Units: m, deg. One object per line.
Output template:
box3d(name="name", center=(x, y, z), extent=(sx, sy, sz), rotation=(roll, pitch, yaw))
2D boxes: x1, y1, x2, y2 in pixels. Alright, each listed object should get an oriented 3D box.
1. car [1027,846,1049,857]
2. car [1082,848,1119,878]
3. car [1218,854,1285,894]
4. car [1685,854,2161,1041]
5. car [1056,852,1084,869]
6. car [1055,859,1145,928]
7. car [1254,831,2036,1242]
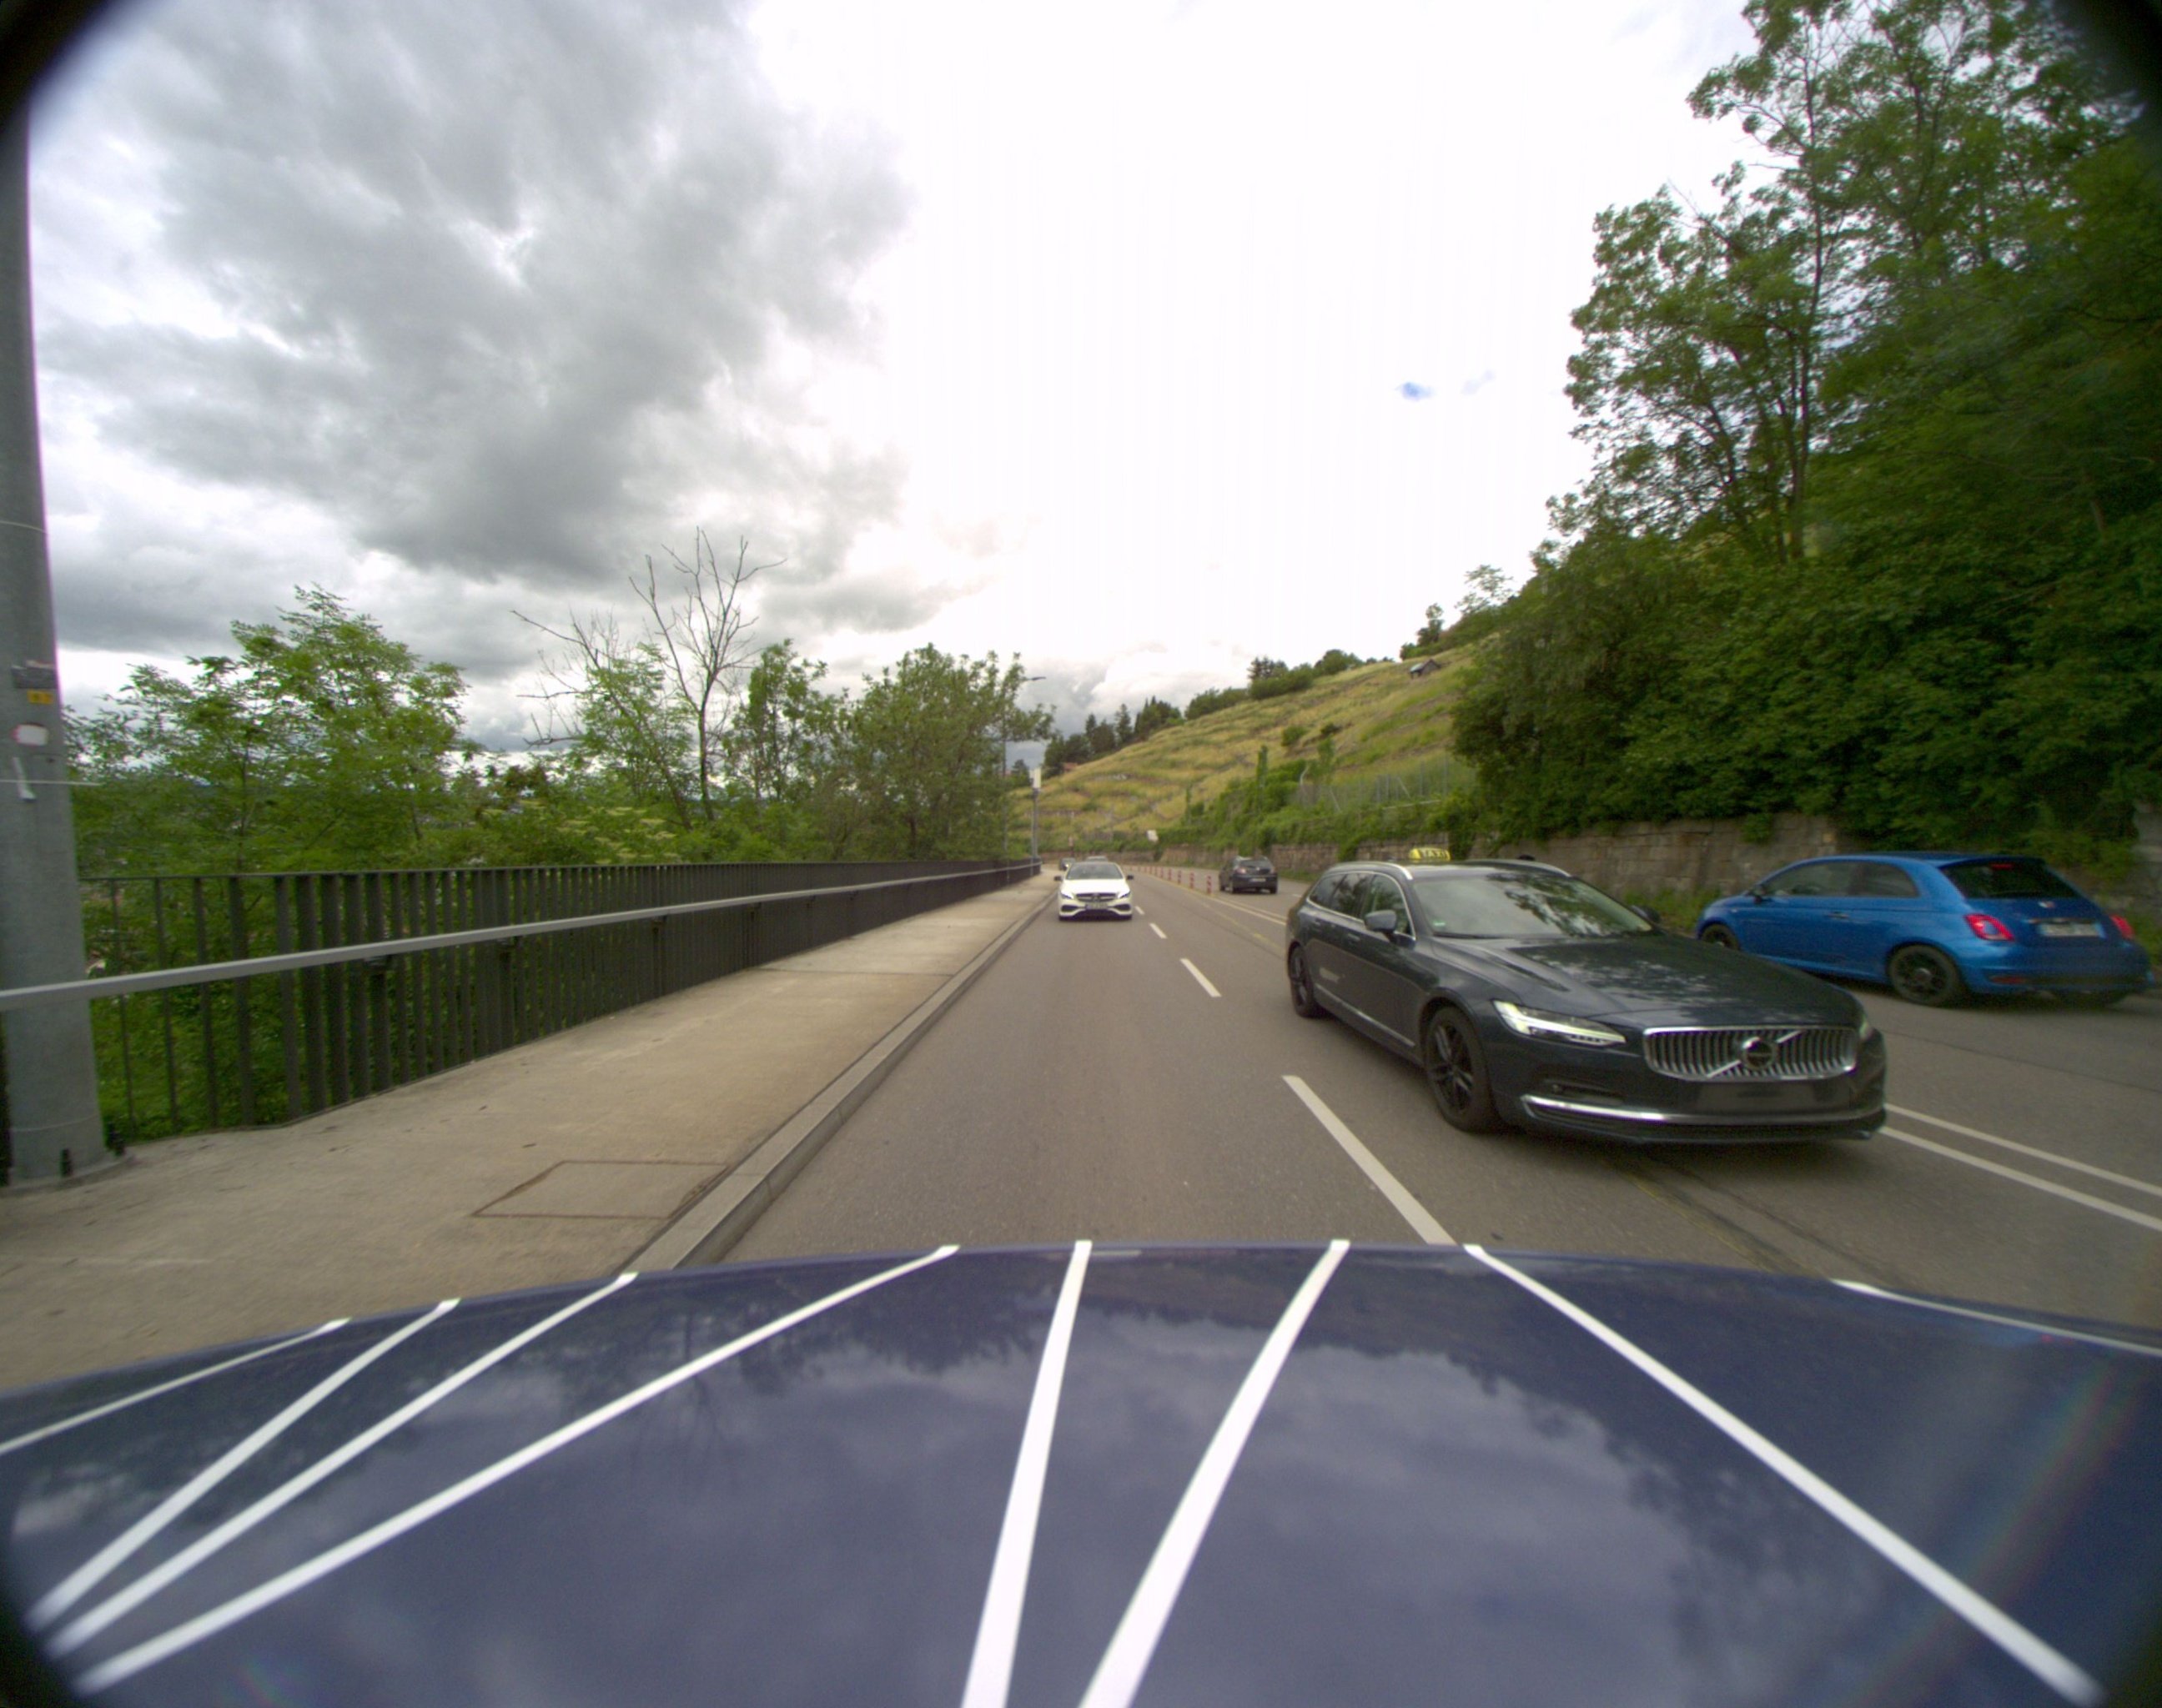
box3d(name="car", center=(-7.210, -0.395, 125.691), extent=(1.917, 1.682, 3.991), rotation=(-3, 1, -31))
box3d(name="car", center=(1.136, 0.499, 44.408), extent=(1.998, 1.580, 4.000), rotation=(-3, 1, 1))
box3d(name="car", center=(6.795, 0.746, 30.708), extent=(1.861, 1.437, 4.296), rotation=(-1, 0, 2))
box3d(name="car", center=(8.580, 0.785, 8.060), extent=(1.587, 1.453, 3.523), rotation=(-3, 1, 2))
box3d(name="car", center=(-1.247, 0.678, 83.650), extent=(2.001, 1.756, 3.994), rotation=(-2, 0, -16))
box3d(name="car", center=(0.468, 0.916, 18.723), extent=(1.903, 1.418, 4.266), rotation=(-3, -1, 1))
box3d(name="car", center=(2.832, 0.724, 5.550), extent=(1.940, 1.567, 5.026), rotation=(-2, 0, 0))
